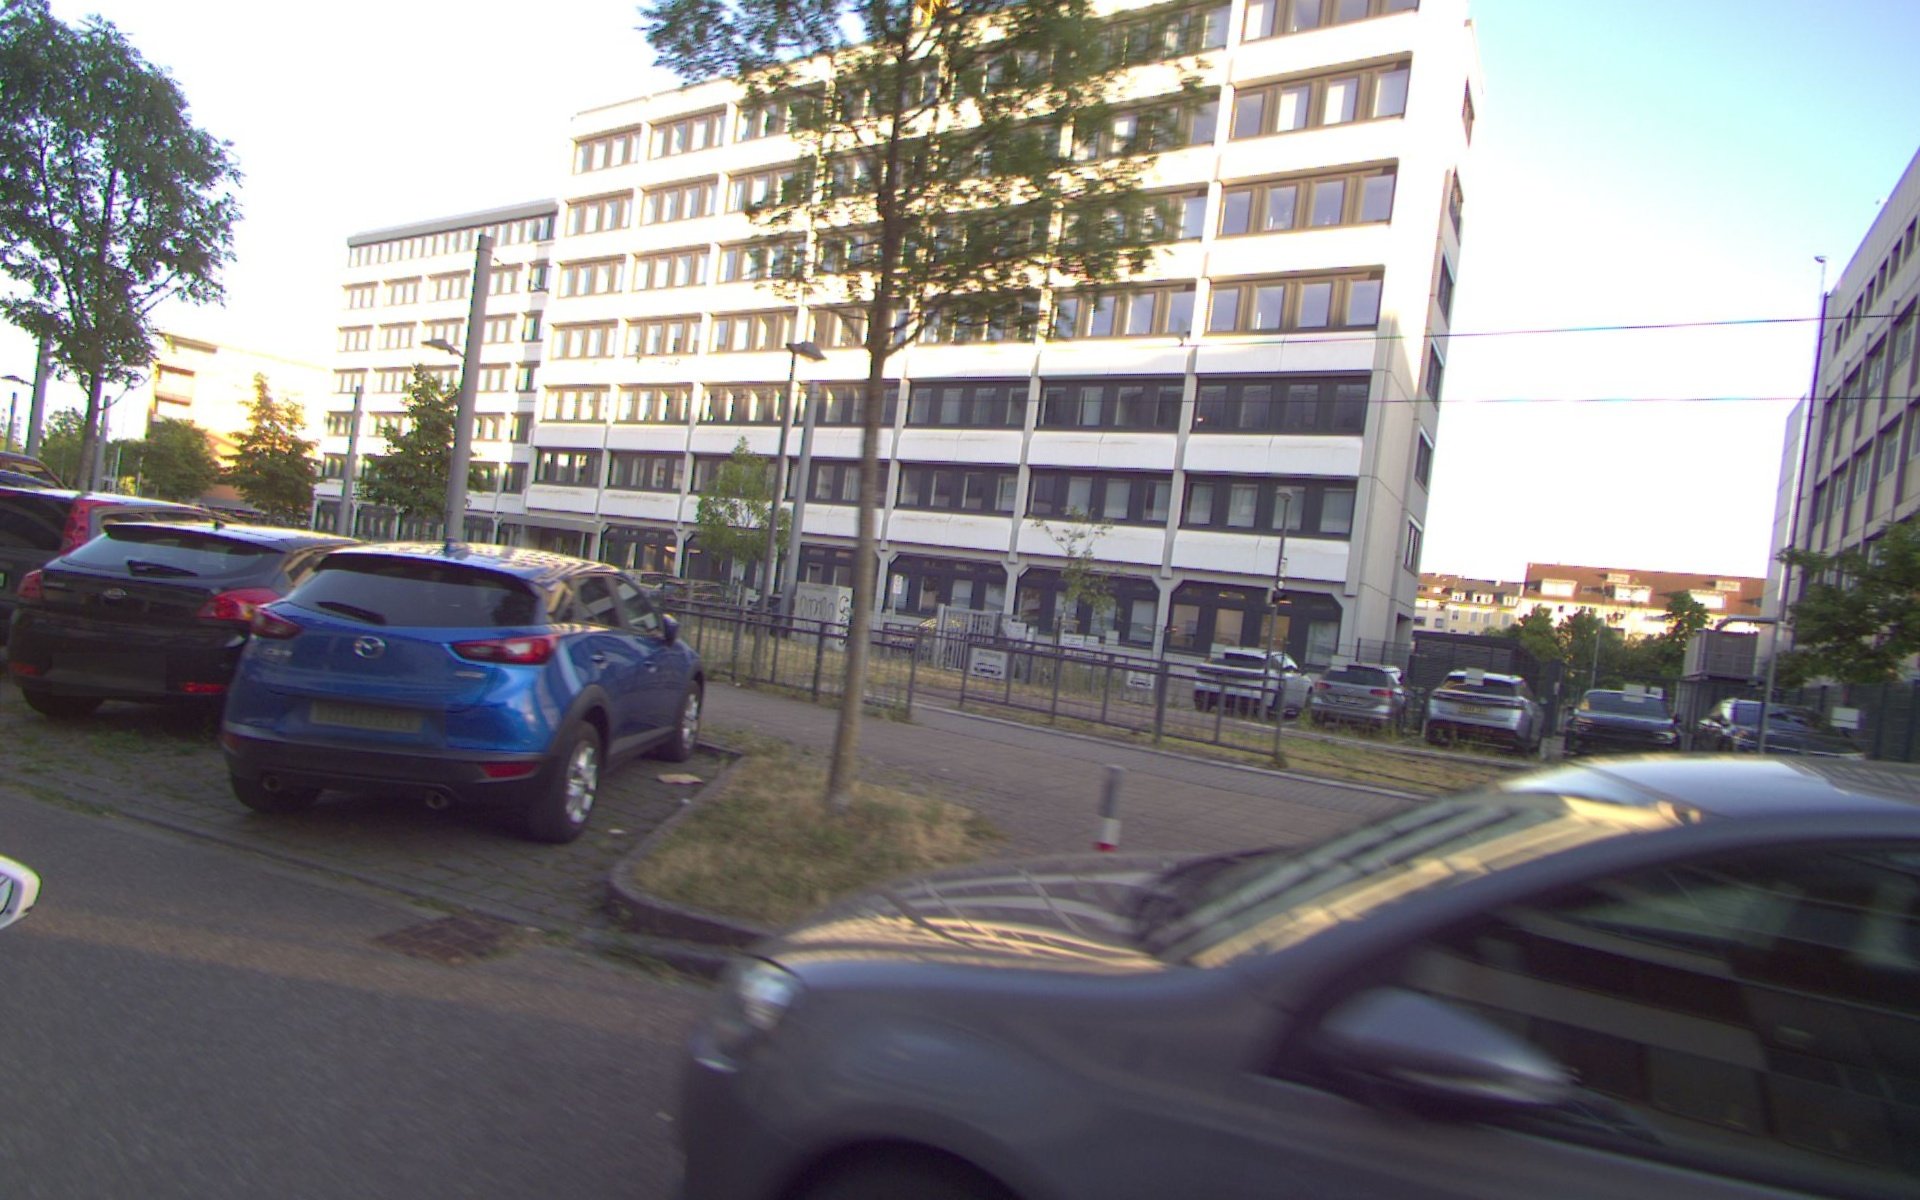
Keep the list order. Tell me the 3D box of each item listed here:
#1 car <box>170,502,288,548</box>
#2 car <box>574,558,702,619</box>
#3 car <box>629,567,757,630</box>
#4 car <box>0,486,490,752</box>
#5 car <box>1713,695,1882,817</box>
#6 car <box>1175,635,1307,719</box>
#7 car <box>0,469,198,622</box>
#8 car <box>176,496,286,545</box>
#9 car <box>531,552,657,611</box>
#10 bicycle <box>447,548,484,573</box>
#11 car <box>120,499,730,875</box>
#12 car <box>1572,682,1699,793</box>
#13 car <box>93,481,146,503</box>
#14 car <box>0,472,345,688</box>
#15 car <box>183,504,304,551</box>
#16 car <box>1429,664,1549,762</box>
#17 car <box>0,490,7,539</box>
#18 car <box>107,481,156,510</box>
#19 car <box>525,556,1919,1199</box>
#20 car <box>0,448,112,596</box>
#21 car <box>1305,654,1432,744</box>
[{"bbox_3d":[-37.219,-3.785,51.334,1.666,1.621,4.502,7,-1,32],"label":"car"},{"bbox_3d":[-10.884,-0.351,34.271,1.565,1.413,3.998,8,-3,31],"label":"car"},{"bbox_3d":[-8.708,-0.019,33.151,1.565,1.413,3.998,8,-3,31],"label":"car"},{"bbox_3d":[-5.584,0.117,8.284,1.706,1.482,3.996,7,-1,-5],"label":"car"},{"bbox_3d":[14.564,2.622,17.709,1.648,1.506,3.987,8,2,33],"label":"car"},{"bbox_3d":[6.569,1.720,23.211,1.793,1.533,3.990,8,2,31],"label":"car"},{"bbox_3d":[-12.145,-0.765,12.408,1.838,1.769,4.605,9,-2,-1],"label":"car"},{"bbox_3d":[-40.791,-4.441,56.390,1.900,1.960,4.500,7,-1,34],"label":"car"},{"bbox_3d":[-12.871,-0.618,35.610,1.565,1.413,3.998,8,-3,31],"label":"car"},{"bbox_3d":[-30.982,-2.480,62.972,2.392,1.214,0.830,8,-2,33],"label":"bicycle"},{"bbox_3d":[-2.907,0.404,6.623,1.893,1.539,3.997,6,0,-3],"label":"car"},{"bbox_3d":[12.603,2.469,18.891,1.648,1.506,3.987,8,2,33],"label":"car"},{"bbox_3d":[-91.571,-11.772,109.618,4.126,1.595,1.688,8,0,-33],"label":"car"},{"bbox_3d":[-8.042,-0.168,9.745,1.706,1.612,4.001,8,-3,-3],"label":"car"},{"bbox_3d":[-35.366,-3.553,49.776,1.666,1.621,4.502,7,-1,32],"label":"car"},{"bbox_3d":[10.696,2.174,20.200,1.648,1.506,3.987,8,2,33],"label":"car"},{"bbox_3d":[-17.565,-1.349,15.765,1.610,1.482,3.779,9,-2,-3],"label":"car"},{"bbox_3d":[-97.814,-12.331,118.860,4.131,2.615,1.686,8,0,-36],"label":"car"},{"bbox_3d":[1.382,0.965,1.869,3.927,1.482,1.738,7,-2,23],"label":"car"},{"bbox_3d":[-14.657,-1.289,13.858,1.838,2.058,4.605,9,-2,-1],"label":"car"},{"bbox_3d":[8.783,2.025,21.462,1.648,1.506,3.987,8,2,33],"label":"car"}]
